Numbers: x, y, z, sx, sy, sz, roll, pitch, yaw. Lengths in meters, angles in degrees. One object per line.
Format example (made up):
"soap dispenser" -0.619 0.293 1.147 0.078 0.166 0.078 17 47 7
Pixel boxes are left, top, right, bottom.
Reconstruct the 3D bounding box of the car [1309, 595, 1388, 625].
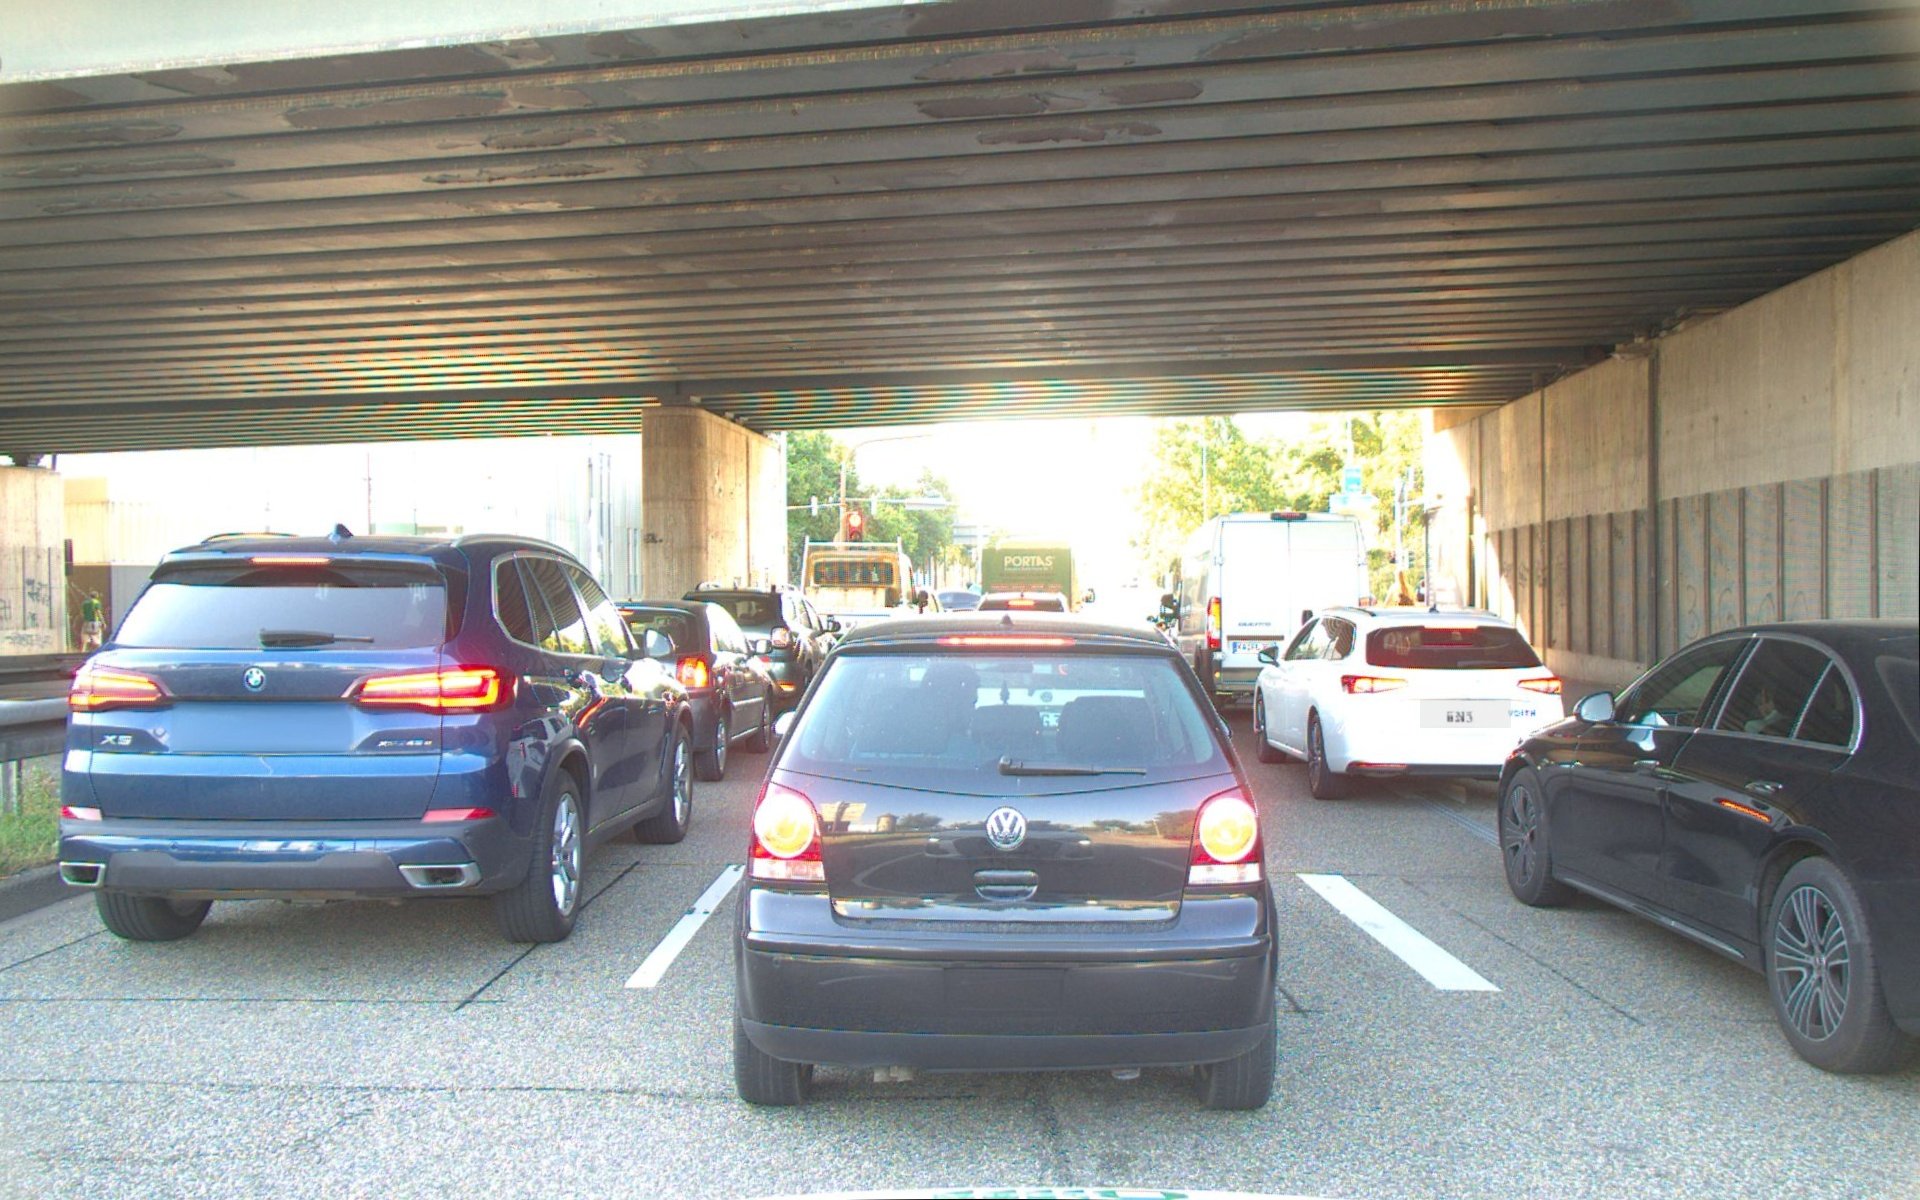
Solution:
"car" 14.627 0.379 62.325 2.762 1.100 1.219 0 -1 6

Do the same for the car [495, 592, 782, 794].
"car" -2.711 0.746 14.770 1.804 1.465 3.674 -3 -1 -1

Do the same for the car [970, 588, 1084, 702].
"car" 0.996 0.647 24.531 1.549 1.559 3.833 0 -1 2

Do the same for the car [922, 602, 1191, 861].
"car" 0.601 0.765 11.322 1.515 1.448 3.418 2 0 1

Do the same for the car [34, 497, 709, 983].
"car" -2.509 0.546 8.332 1.792 1.769 4.461 -1 -1 0

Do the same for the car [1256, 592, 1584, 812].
"car" 3.614 0.755 13.697 1.735 1.521 3.832 -2 -1 2

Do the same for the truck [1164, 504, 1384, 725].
"truck" 4.003 0.192 21.854 2.068 2.564 4.401 -2 -1 1

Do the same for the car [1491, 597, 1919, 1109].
"car" 3.715 0.756 6.607 1.705 1.480 4.606 0 1 0

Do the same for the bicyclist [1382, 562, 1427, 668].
"bicyclist" 8.217 0.278 30.616 0.667 1.940 0.834 0 -1 6

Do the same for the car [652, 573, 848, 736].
"car" -2.538 0.640 20.908 1.803 1.749 4.000 -3 -1 1

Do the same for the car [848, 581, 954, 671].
"car" -1.283 0.591 37.629 1.951 1.934 4.002 0 -1 4

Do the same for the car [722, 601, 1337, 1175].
"car" 0.132 0.756 6.085 1.550 1.433 3.830 0 -1 -2

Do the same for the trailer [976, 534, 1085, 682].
"trailer" 1.347 0.168 30.547 1.825 2.508 3.833 -2 -1 4

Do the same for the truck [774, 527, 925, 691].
"truck" -1.821 0.183 29.092 1.985 2.601 5.539 0 -1 3

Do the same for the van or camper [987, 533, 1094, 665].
"van or camper" 1.839 0.024 35.932 1.951 2.616 5.922 0 -1 6

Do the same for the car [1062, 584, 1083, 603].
"car" 8.828 -0.506 130.244 1.312 1.304 2.892 -3 -1 -2

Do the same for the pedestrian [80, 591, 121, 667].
"pedestrian" -22.124 0.741 42.558 0.679 1.937 0.665 0 -1 4
